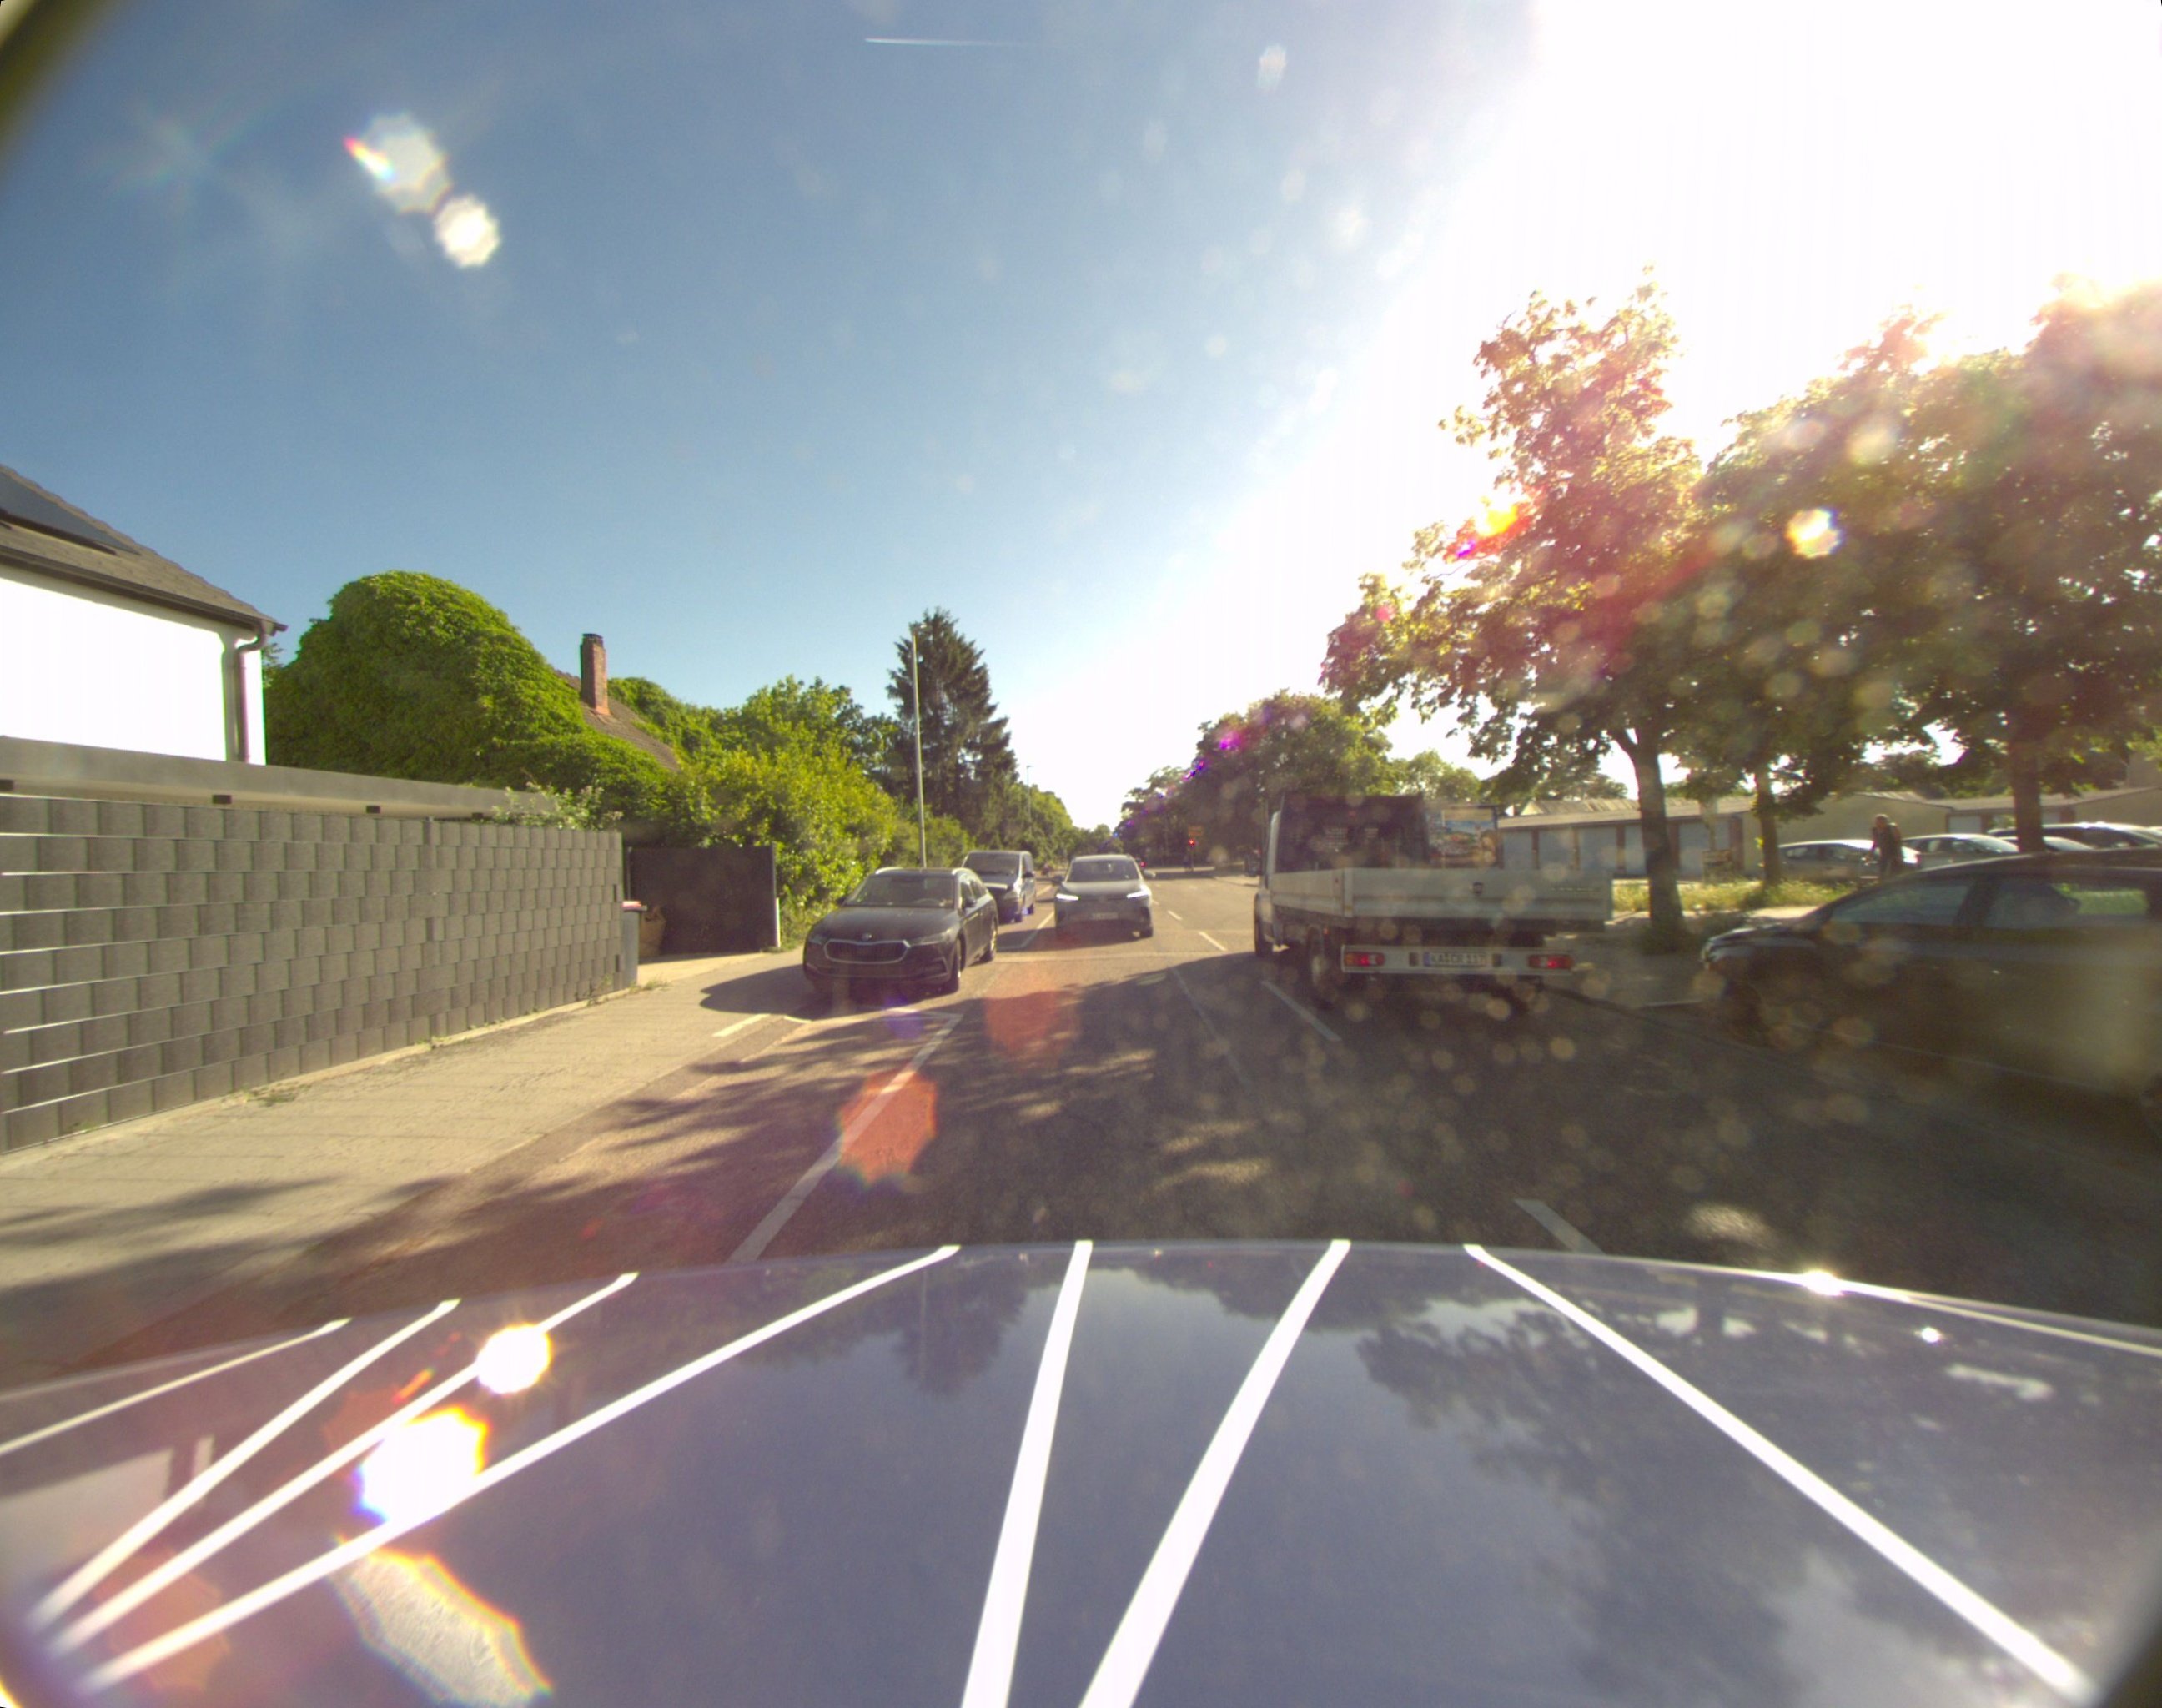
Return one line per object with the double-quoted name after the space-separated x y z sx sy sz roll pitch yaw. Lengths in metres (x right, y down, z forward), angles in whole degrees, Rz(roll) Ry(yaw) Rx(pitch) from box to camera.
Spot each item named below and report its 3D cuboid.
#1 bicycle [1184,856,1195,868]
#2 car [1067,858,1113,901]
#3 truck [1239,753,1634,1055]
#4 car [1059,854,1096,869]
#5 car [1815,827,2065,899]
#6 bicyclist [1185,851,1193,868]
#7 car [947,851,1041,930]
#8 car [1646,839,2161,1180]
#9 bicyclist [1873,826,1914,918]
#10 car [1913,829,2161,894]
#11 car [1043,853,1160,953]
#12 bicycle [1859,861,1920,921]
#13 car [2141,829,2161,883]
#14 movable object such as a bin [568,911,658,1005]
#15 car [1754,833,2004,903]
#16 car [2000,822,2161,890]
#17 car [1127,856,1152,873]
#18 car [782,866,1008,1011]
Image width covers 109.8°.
10.432 0.768 73.211 0.529 1.135 2.025 -3 0 -5 "bicycle"
0.328 0.991 31.707 1.692 1.564 4.120 -4 0 -1 "car"
3.428 0.387 9.139 2.134 2.321 6.444 -1 0 4 "truck"
-0.385 0.860 85.435 3.999 1.559 1.710 -2 0 -8 "car"
21.978 0.282 19.684 1.704 1.612 3.878 -2 -2 -14 "car"
10.419 0.520 73.272 0.542 1.632 0.829 -3 0 -5 "bicyclist"
-2.296 0.902 21.324 1.841 1.896 4.698 -3 0 2 "car"
5.932 0.720 4.752 1.705 1.472 4.051 -4 2 0 "car"
15.240 0.337 14.256 0.390 1.675 0.381 -3 0 -30 "bicyclist"
24.371 0.248 19.340 1.704 1.455 3.878 -2 -2 -14 "car"
0.468 0.882 15.793 1.992 1.631 4.365 -3 1 3 "car"
15.181 0.680 14.264 1.624 1.005 0.405 -3 1 -30 "bicycle"
31.301 0.009 19.871 1.507 1.496 3.878 -2 -1 -10 "car"
-5.725 1.260 9.330 0.596 1.034 0.704 -2 2 3 "movable object such as a bin"
19.291 0.337 18.641 1.735 1.455 3.878 -2 -1 -12 "car"
27.285 0.037 19.812 1.703 1.669 3.878 -2 -1 -10 "car"
5.259 0.934 68.853 1.841 1.480 4.890 -2 0 1 "car"
-2.241 0.954 10.662 1.770 1.471 4.992 -1 0 2 "car"
